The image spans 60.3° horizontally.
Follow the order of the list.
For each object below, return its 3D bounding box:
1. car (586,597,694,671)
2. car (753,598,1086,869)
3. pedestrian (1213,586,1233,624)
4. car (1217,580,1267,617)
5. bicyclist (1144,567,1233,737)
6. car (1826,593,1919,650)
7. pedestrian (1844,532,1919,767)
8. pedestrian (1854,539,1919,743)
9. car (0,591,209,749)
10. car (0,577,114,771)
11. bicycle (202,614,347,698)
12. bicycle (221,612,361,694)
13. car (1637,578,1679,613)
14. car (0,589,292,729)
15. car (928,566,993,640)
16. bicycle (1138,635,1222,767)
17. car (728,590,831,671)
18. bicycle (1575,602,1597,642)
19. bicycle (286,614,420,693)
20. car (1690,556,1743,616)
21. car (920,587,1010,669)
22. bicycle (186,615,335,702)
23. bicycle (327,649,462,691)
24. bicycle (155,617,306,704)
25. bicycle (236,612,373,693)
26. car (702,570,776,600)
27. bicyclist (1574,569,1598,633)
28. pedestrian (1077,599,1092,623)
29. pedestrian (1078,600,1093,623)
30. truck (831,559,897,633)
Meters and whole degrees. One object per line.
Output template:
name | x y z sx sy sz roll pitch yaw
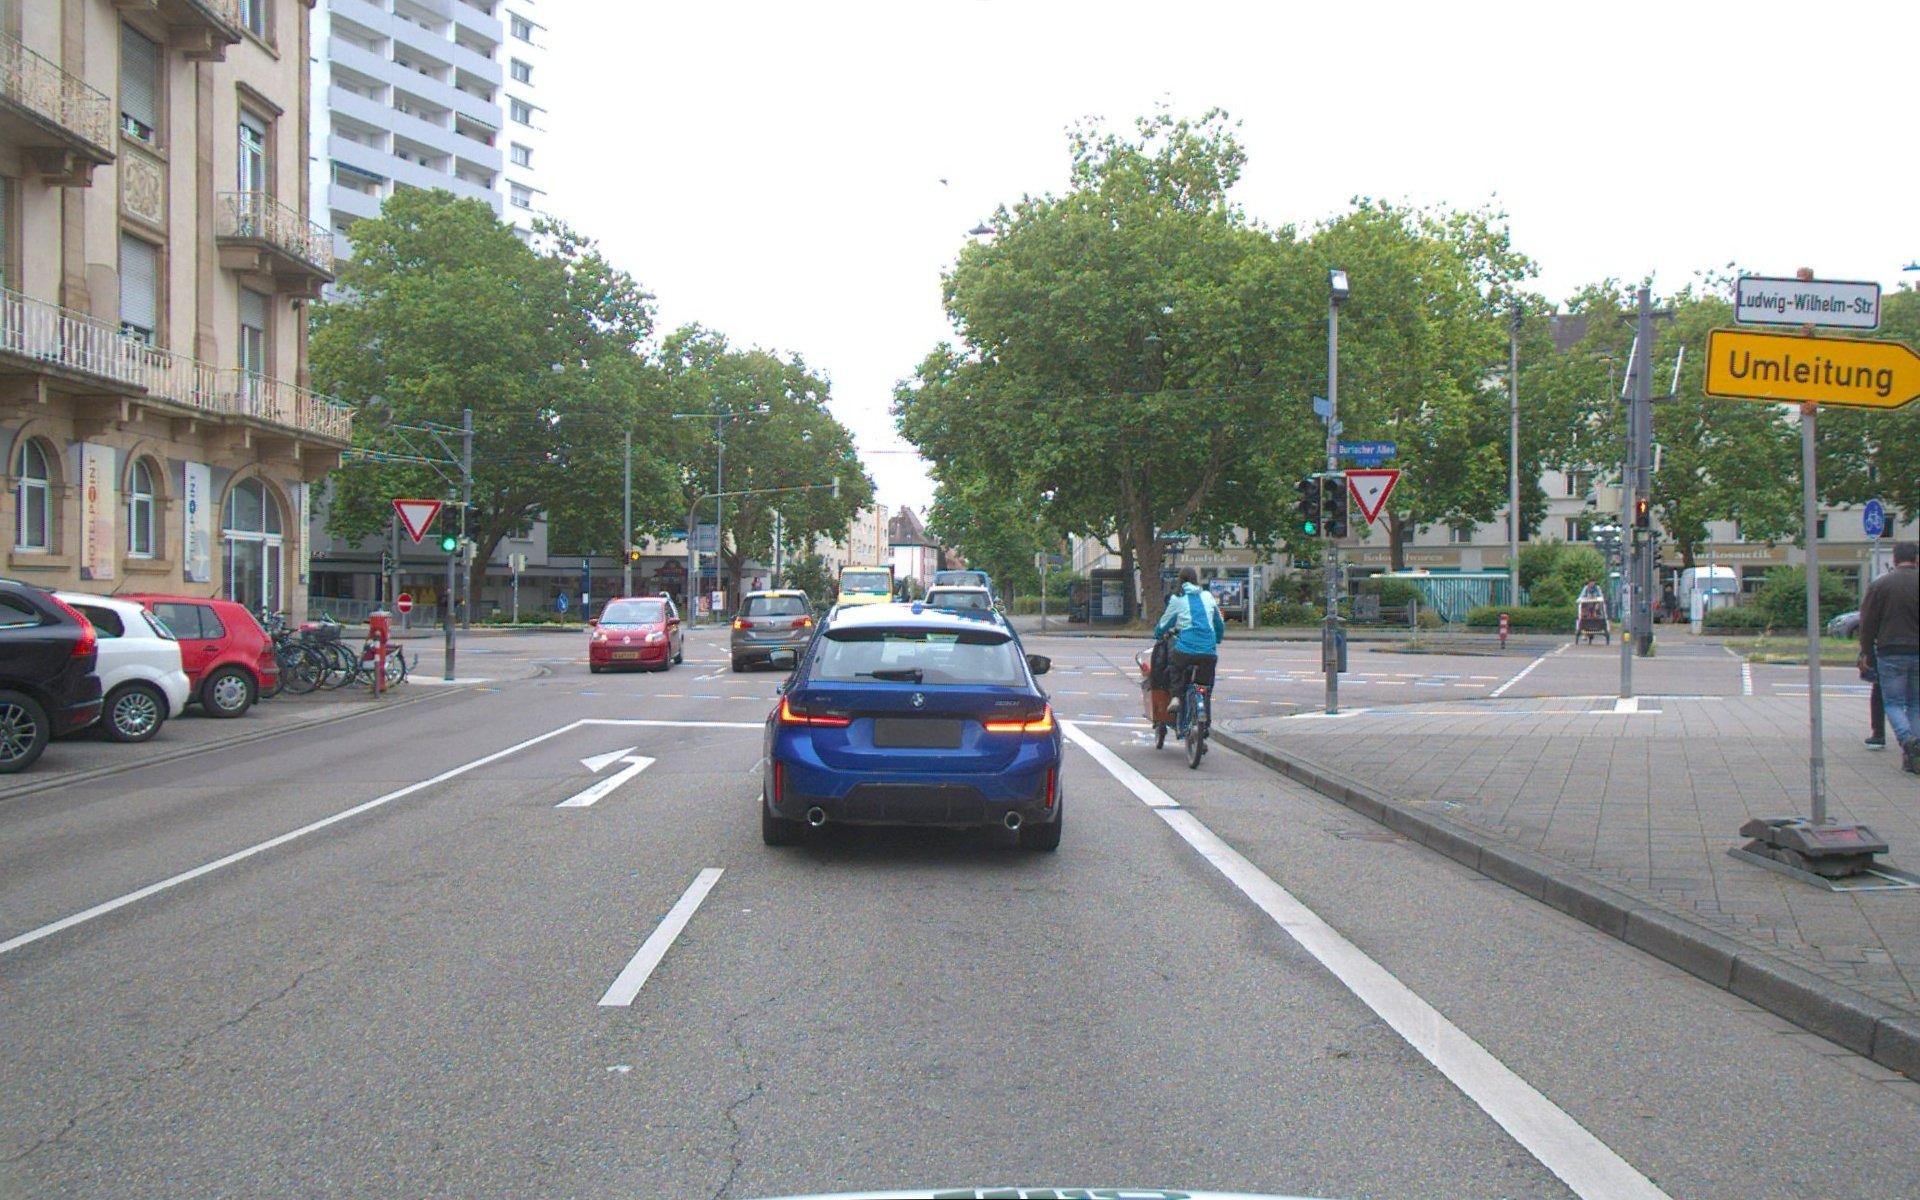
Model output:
car | -6.675 0.675 34.823 1.615 1.472 3.510 0 0 -1
car | -0.243 0.711 11.041 1.778 1.430 4.319 0 0 -1
pedestrian | 12.461 0.226 78.432 0.768 1.774 0.925 0 0 -2
car | 17.353 -0.070 101.642 2.130 2.239 3.998 0 0 23
bicyclist | 2.131 0.468 15.548 0.672 1.544 1.058 0 0 -1
car | 27.193 0.606 47.573 3.895 1.589 1.687 0 0 22
pedestrian | 7.304 0.349 12.504 0.660 1.715 0.969 -2 0 -1
pedestrian | 8.292 0.329 14.295 0.619 1.702 0.970 -2 0 6
car | -9.930 0.676 16.685 3.968 1.498 1.540 3 0 -44
car | -9.721 0.626 14.077 4.192 1.680 1.704 1 0 -44
bicycle | -10.085 0.817 24.366 1.849 1.053 0.442 5 0 -3
bicycle | -10.112 0.795 25.027 1.849 1.053 0.442 5 0 -3
car | 31.893 -0.205 75.540 1.631 1.542 3.935 0 0 25
car | -10.210 0.654 19.536 1.653 1.498 3.978 2 0 40
car | -0.016 0.078 47.883 1.778 2.040 3.999 0 0 -1
bicycle | 2.075 0.919 15.790 0.484 1.117 2.138 0 0 -1
car | -3.629 0.573 33.861 1.697 1.551 3.999 0 0 -1
bicycle | 16.726 0.574 44.169 0.540 1.013 2.061 0 0 21
bicycle | -9.611 0.846 26.217 1.849 1.053 0.442 5 0 -3
car | 35.112 -0.623 76.743 2.191 2.685 5.443 0 0 25
car | 0.078 0.540 34.672 1.778 1.620 3.999 0 0 -1
bicycle | -10.064 0.836 23.830 1.849 1.053 0.442 5 0 -3
bicycle | -9.303 1.145 27.260 1.849 0.453 1.028 6 1 -3
bicycle | -10.142 0.837 23.013 1.847 1.053 0.442 4 0 2
bicycle | -10.156 0.811 25.662 1.849 1.053 0.442 5 0 -3
car | -13.308 -0.902 99.710 3.953 1.736 1.976 1 -1 -35
bicyclist | 16.715 0.031 44.160 0.601 1.683 0.754 0 0 20
pedestrian | 7.338 0.647 97.710 0.801 1.396 0.762 0 0 -1
pedestrian | 7.335 0.678 96.856 0.835 1.337 0.762 0 0 -1
truck | -3.315 -0.163 58.118 2.032 2.450 5.461 -1 0 -1
